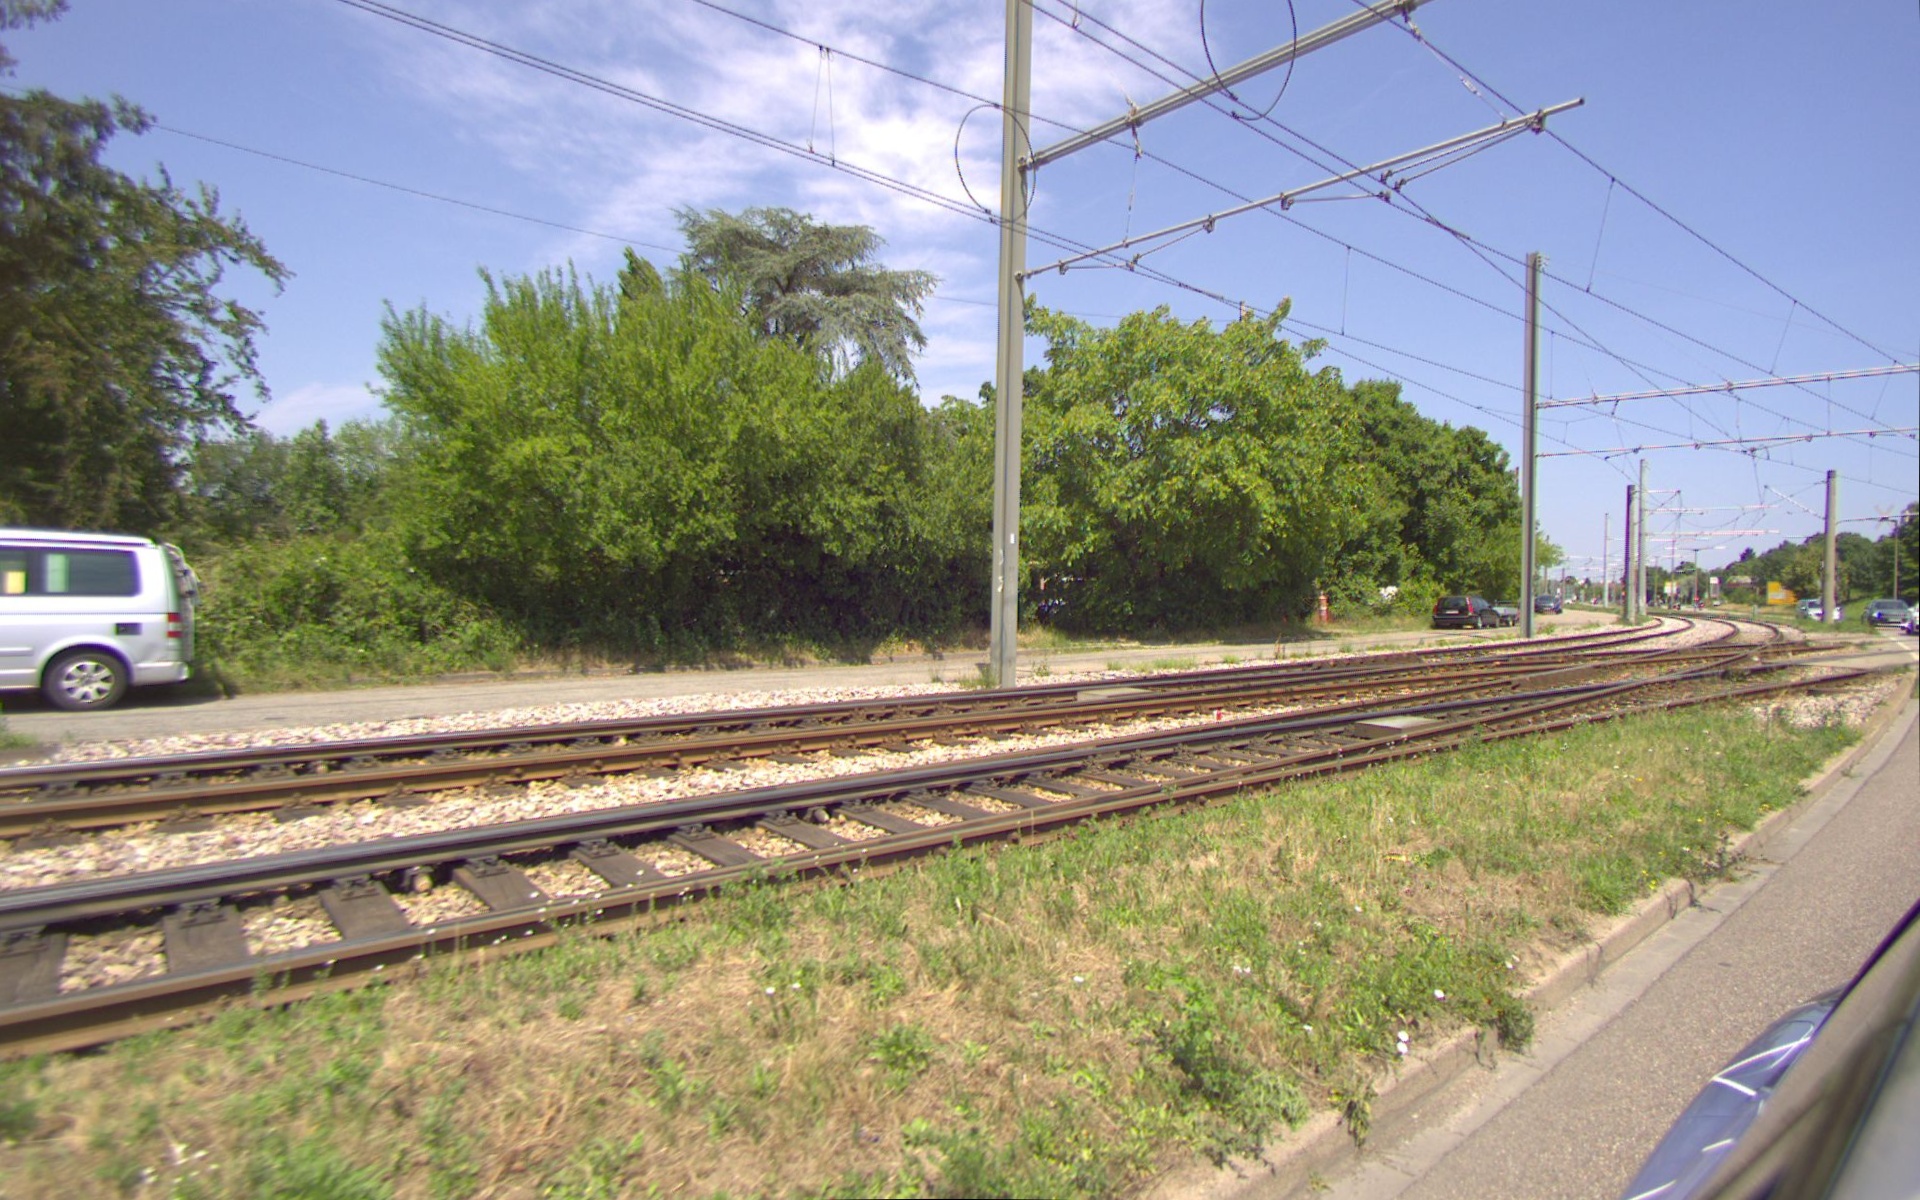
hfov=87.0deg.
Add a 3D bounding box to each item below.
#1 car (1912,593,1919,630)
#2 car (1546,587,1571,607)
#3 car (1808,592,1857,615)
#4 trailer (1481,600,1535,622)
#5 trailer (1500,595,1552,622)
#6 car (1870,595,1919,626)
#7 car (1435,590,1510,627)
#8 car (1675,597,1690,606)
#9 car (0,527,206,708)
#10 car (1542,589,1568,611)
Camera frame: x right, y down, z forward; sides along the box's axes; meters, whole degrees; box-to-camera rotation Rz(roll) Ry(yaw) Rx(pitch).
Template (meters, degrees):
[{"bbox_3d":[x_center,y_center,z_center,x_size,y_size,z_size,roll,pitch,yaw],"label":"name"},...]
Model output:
[{"bbox_3d":[39.327,0.518,40.129,1.763,1.460,4.075,2,2,37],"label":"car"},{"bbox_3d":[54.712,-0.282,92.523,1.666,1.644,4.668,1,2,27],"label":"car"},{"bbox_3d":[61.630,0.224,71.539,1.793,1.492,3.481,1,2,26],"label":"car"},{"bbox_3d":[26.744,0.534,49.328,1.418,1.007,3.939,-2,-2,42],"label":"trailer"},{"bbox_3d":[29.310,0.409,52.356,1.461,1.237,3.939,2,2,42],"label":"trailer"},{"bbox_3d":[47.520,0.501,51.497,1.502,1.449,3.314,2,2,37],"label":"car"},{"bbox_3d":[22.689,0.322,44.724,1.796,1.444,4.669,2,2,42],"label":"car"},{"bbox_3d":[137.045,0.348,191.982,1.818,1.622,4.435,1,0,31],"label":"car"},{"bbox_3d":[-11.343,0.169,10.909,4.984,1.905,2.039,-1,2,-43],"label":"car"},{"bbox_3d":[51.240,-0.044,87.232,1.818,1.677,4.766,1,2,30],"label":"car"}]
